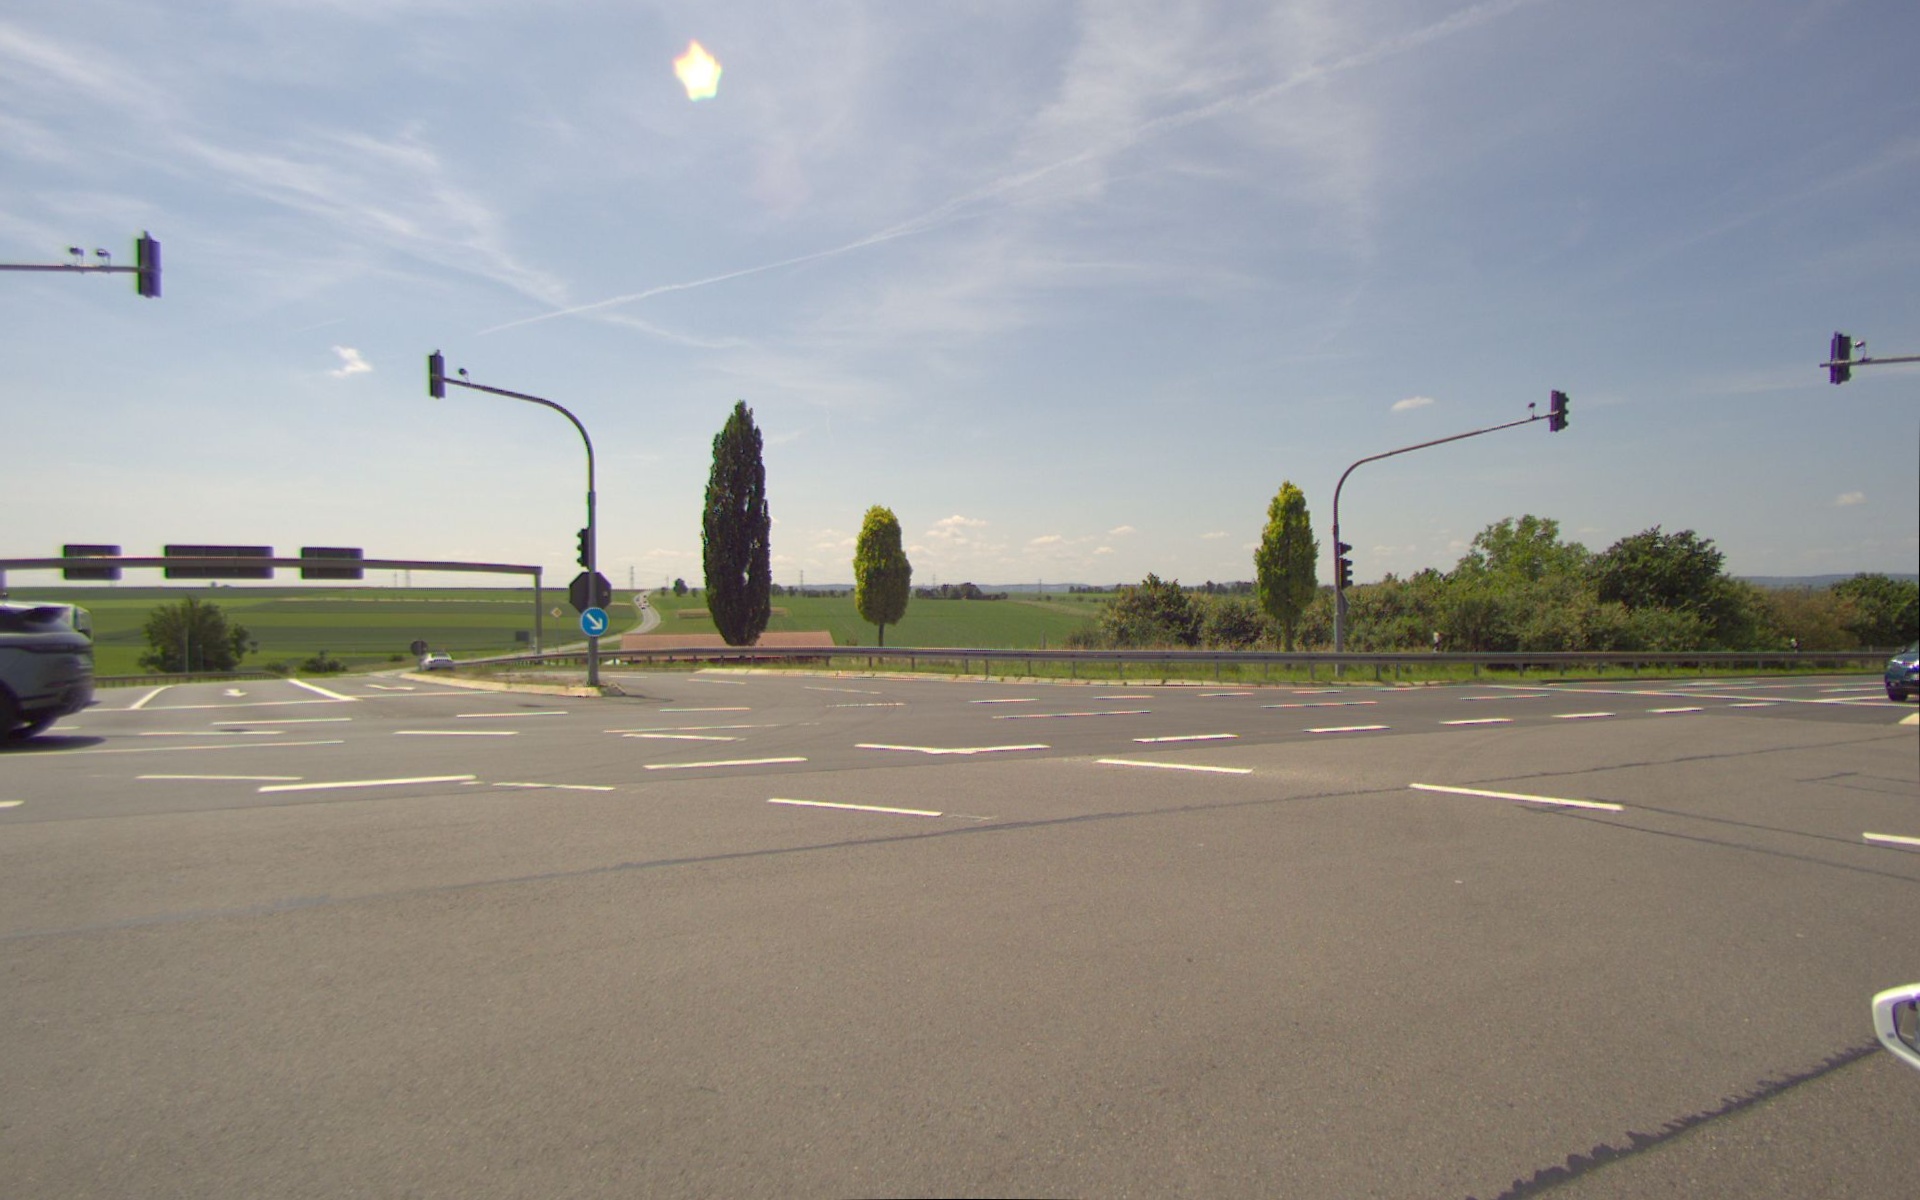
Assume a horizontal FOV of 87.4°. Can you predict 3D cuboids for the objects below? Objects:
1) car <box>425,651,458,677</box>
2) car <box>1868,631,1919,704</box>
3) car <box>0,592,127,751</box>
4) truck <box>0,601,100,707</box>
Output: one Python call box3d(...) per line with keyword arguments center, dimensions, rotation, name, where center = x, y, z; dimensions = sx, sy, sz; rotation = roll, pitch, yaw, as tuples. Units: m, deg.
box3d(center=(-36.184, 4.431, 70.062), dimensions=(1.616, 1.479, 4.453), rotation=(2, 0, -32), name="car")
box3d(center=(21.439, 1.420, 21.502), dimensions=(4.145, 1.488, 1.747), rotation=(1, -2, -29), name="car")
box3d(center=(-11.578, 0.714, 10.373), dimensions=(4.277, 1.645, 1.637), rotation=(2, -3, -30), name="car")
box3d(center=(-17.678, 0.978, 18.834), dimensions=(1.982, 1.780, 5.227), rotation=(2, -3, -37), name="truck")
